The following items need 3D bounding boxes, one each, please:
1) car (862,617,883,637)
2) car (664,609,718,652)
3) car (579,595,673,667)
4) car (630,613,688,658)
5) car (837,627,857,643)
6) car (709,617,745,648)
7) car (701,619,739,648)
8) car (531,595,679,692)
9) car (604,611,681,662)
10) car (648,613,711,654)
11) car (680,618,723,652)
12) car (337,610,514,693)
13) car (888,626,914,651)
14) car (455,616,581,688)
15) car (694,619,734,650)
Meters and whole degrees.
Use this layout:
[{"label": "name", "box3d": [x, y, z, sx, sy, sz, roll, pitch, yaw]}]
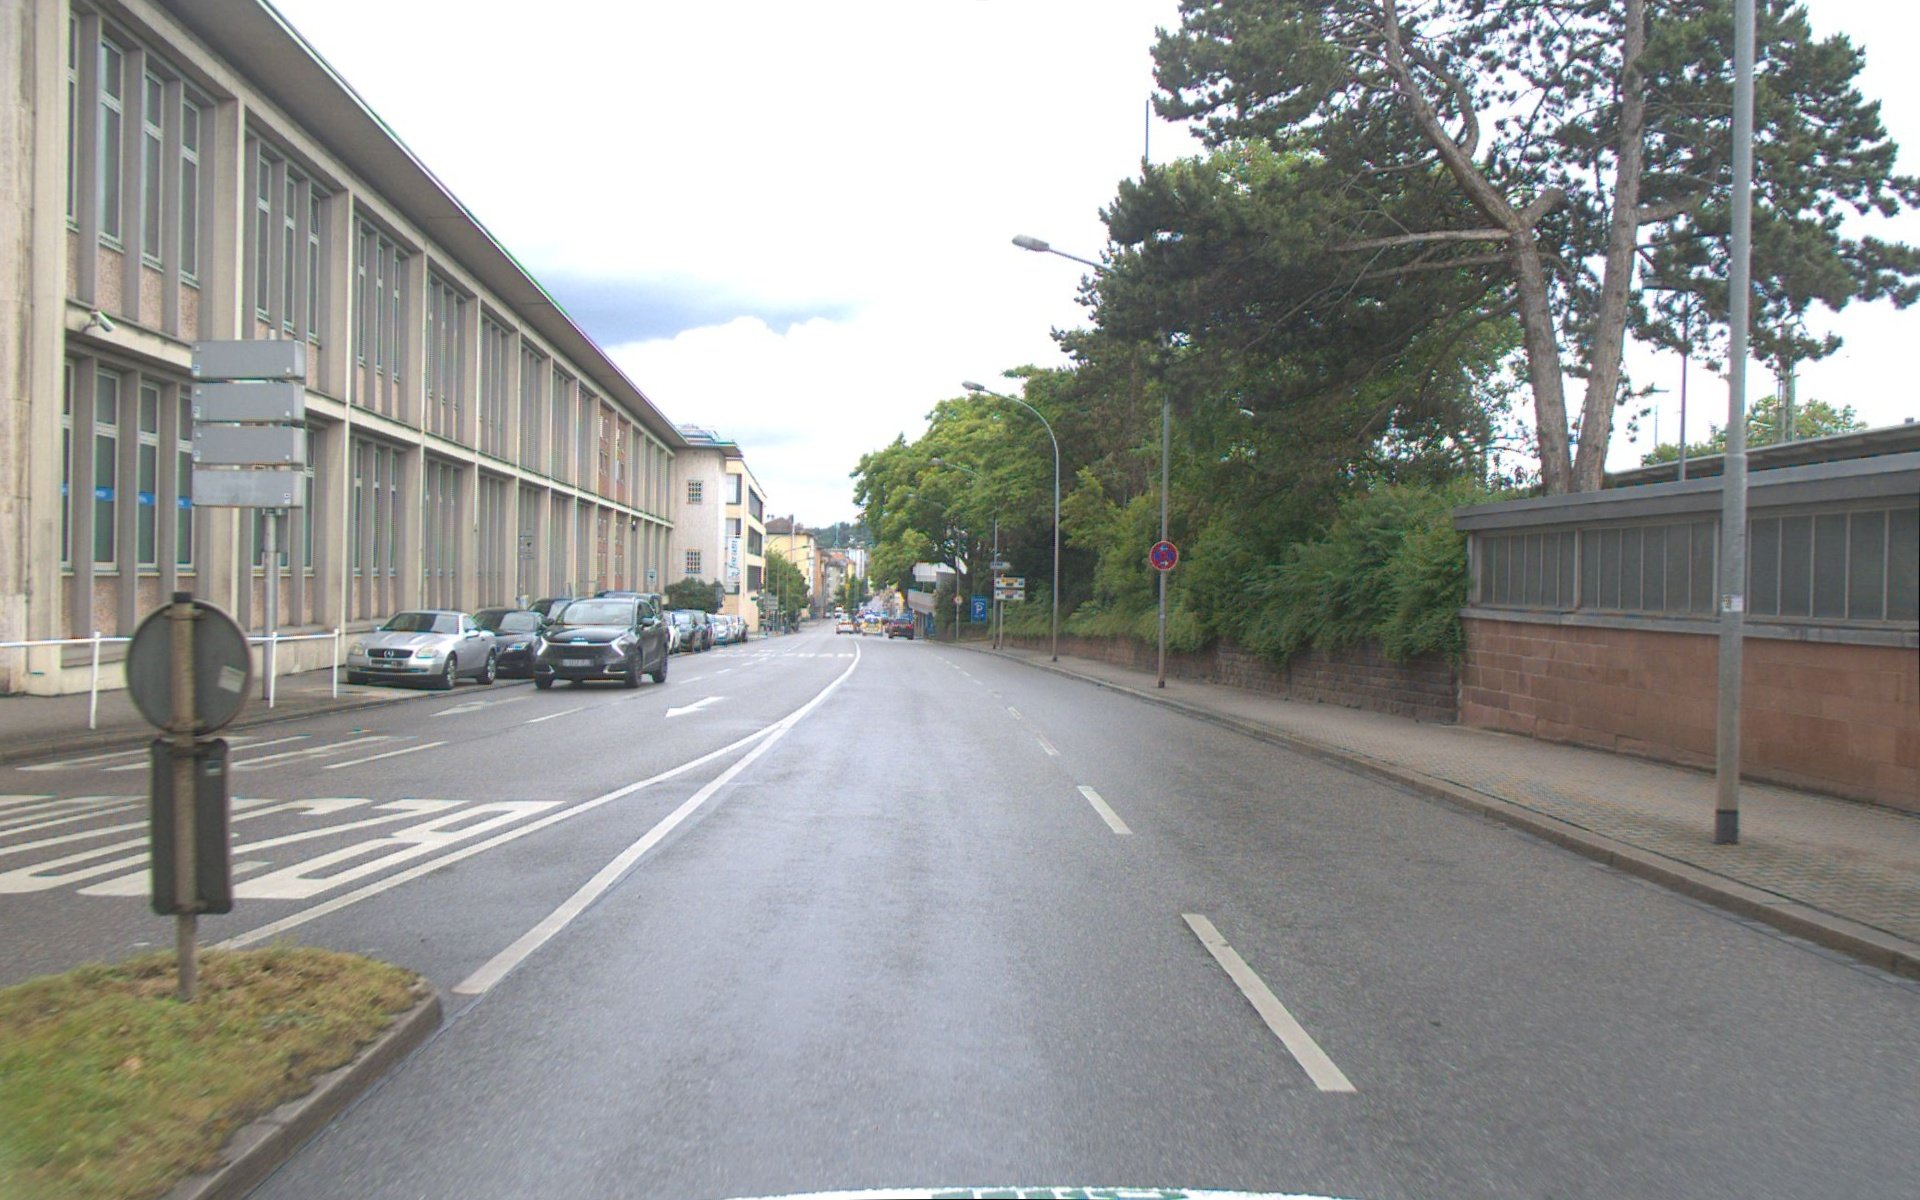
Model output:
[{"label": "car", "box3d": [-8.650, 2.596, 162.517, 1.954, 1.870, 3.996, -1, 0, -5]}, {"label": "car", "box3d": [-11.353, 1.311, 69.967, 1.805, 1.682, 4.510, 3, -2, -5]}, {"label": "car", "box3d": [-9.680, 0.871, 48.333, 1.910, 1.978, 4.993, 1, 0, -2]}, {"label": "car", "box3d": [-10.662, 1.233, 58.739, 1.534, 1.510, 3.551, 1, 0, -2]}, {"label": "car", "box3d": [-13.088, 4.054, 191.789, 1.957, 1.709, 3.992, -1, 0, -9]}, {"label": "car", "box3d": [-13.367, 1.856, 95.147, 1.714, 1.625, 4.177, 3, -1, -4]}, {"label": "car", "box3d": [-13.009, 1.821, 89.848, 1.714, 1.479, 4.176, 3, -1, -5]}, {"label": "car", "box3d": [-6.556, 0.765, 30.991, 1.784, 1.689, 4.338, 0, 0, 1]}, {"label": "car", "box3d": [-10.332, 1.161, 54.032, 1.823, 1.579, 4.310, 1, 0, -2]}, {"label": "car", "box3d": [-10.837, 1.271, 64.229, 1.779, 1.510, 4.906, 1, -1, -2]}, {"label": "car", "box3d": [-12.355, 1.649, 79.189, 1.646, 1.549, 3.917, 2, -1, -4]}, {"label": "car", "box3d": [-9.236, 0.847, 28.921, 1.656, 1.320, 4.093, 1, 0, 1]}, {"label": "car", "box3d": [-5.071, 3.275, 141.790, 2.050, 1.944, 4.097, -1, 0, -3]}, {"label": "car", "box3d": [-9.112, 1.037, 34.395, 1.511, 1.377, 4.109, 1, 0, -1]}, {"label": "car", "box3d": [-12.526, 1.745, 84.410, 1.714, 1.460, 4.480, 3, -2, -5]}]
